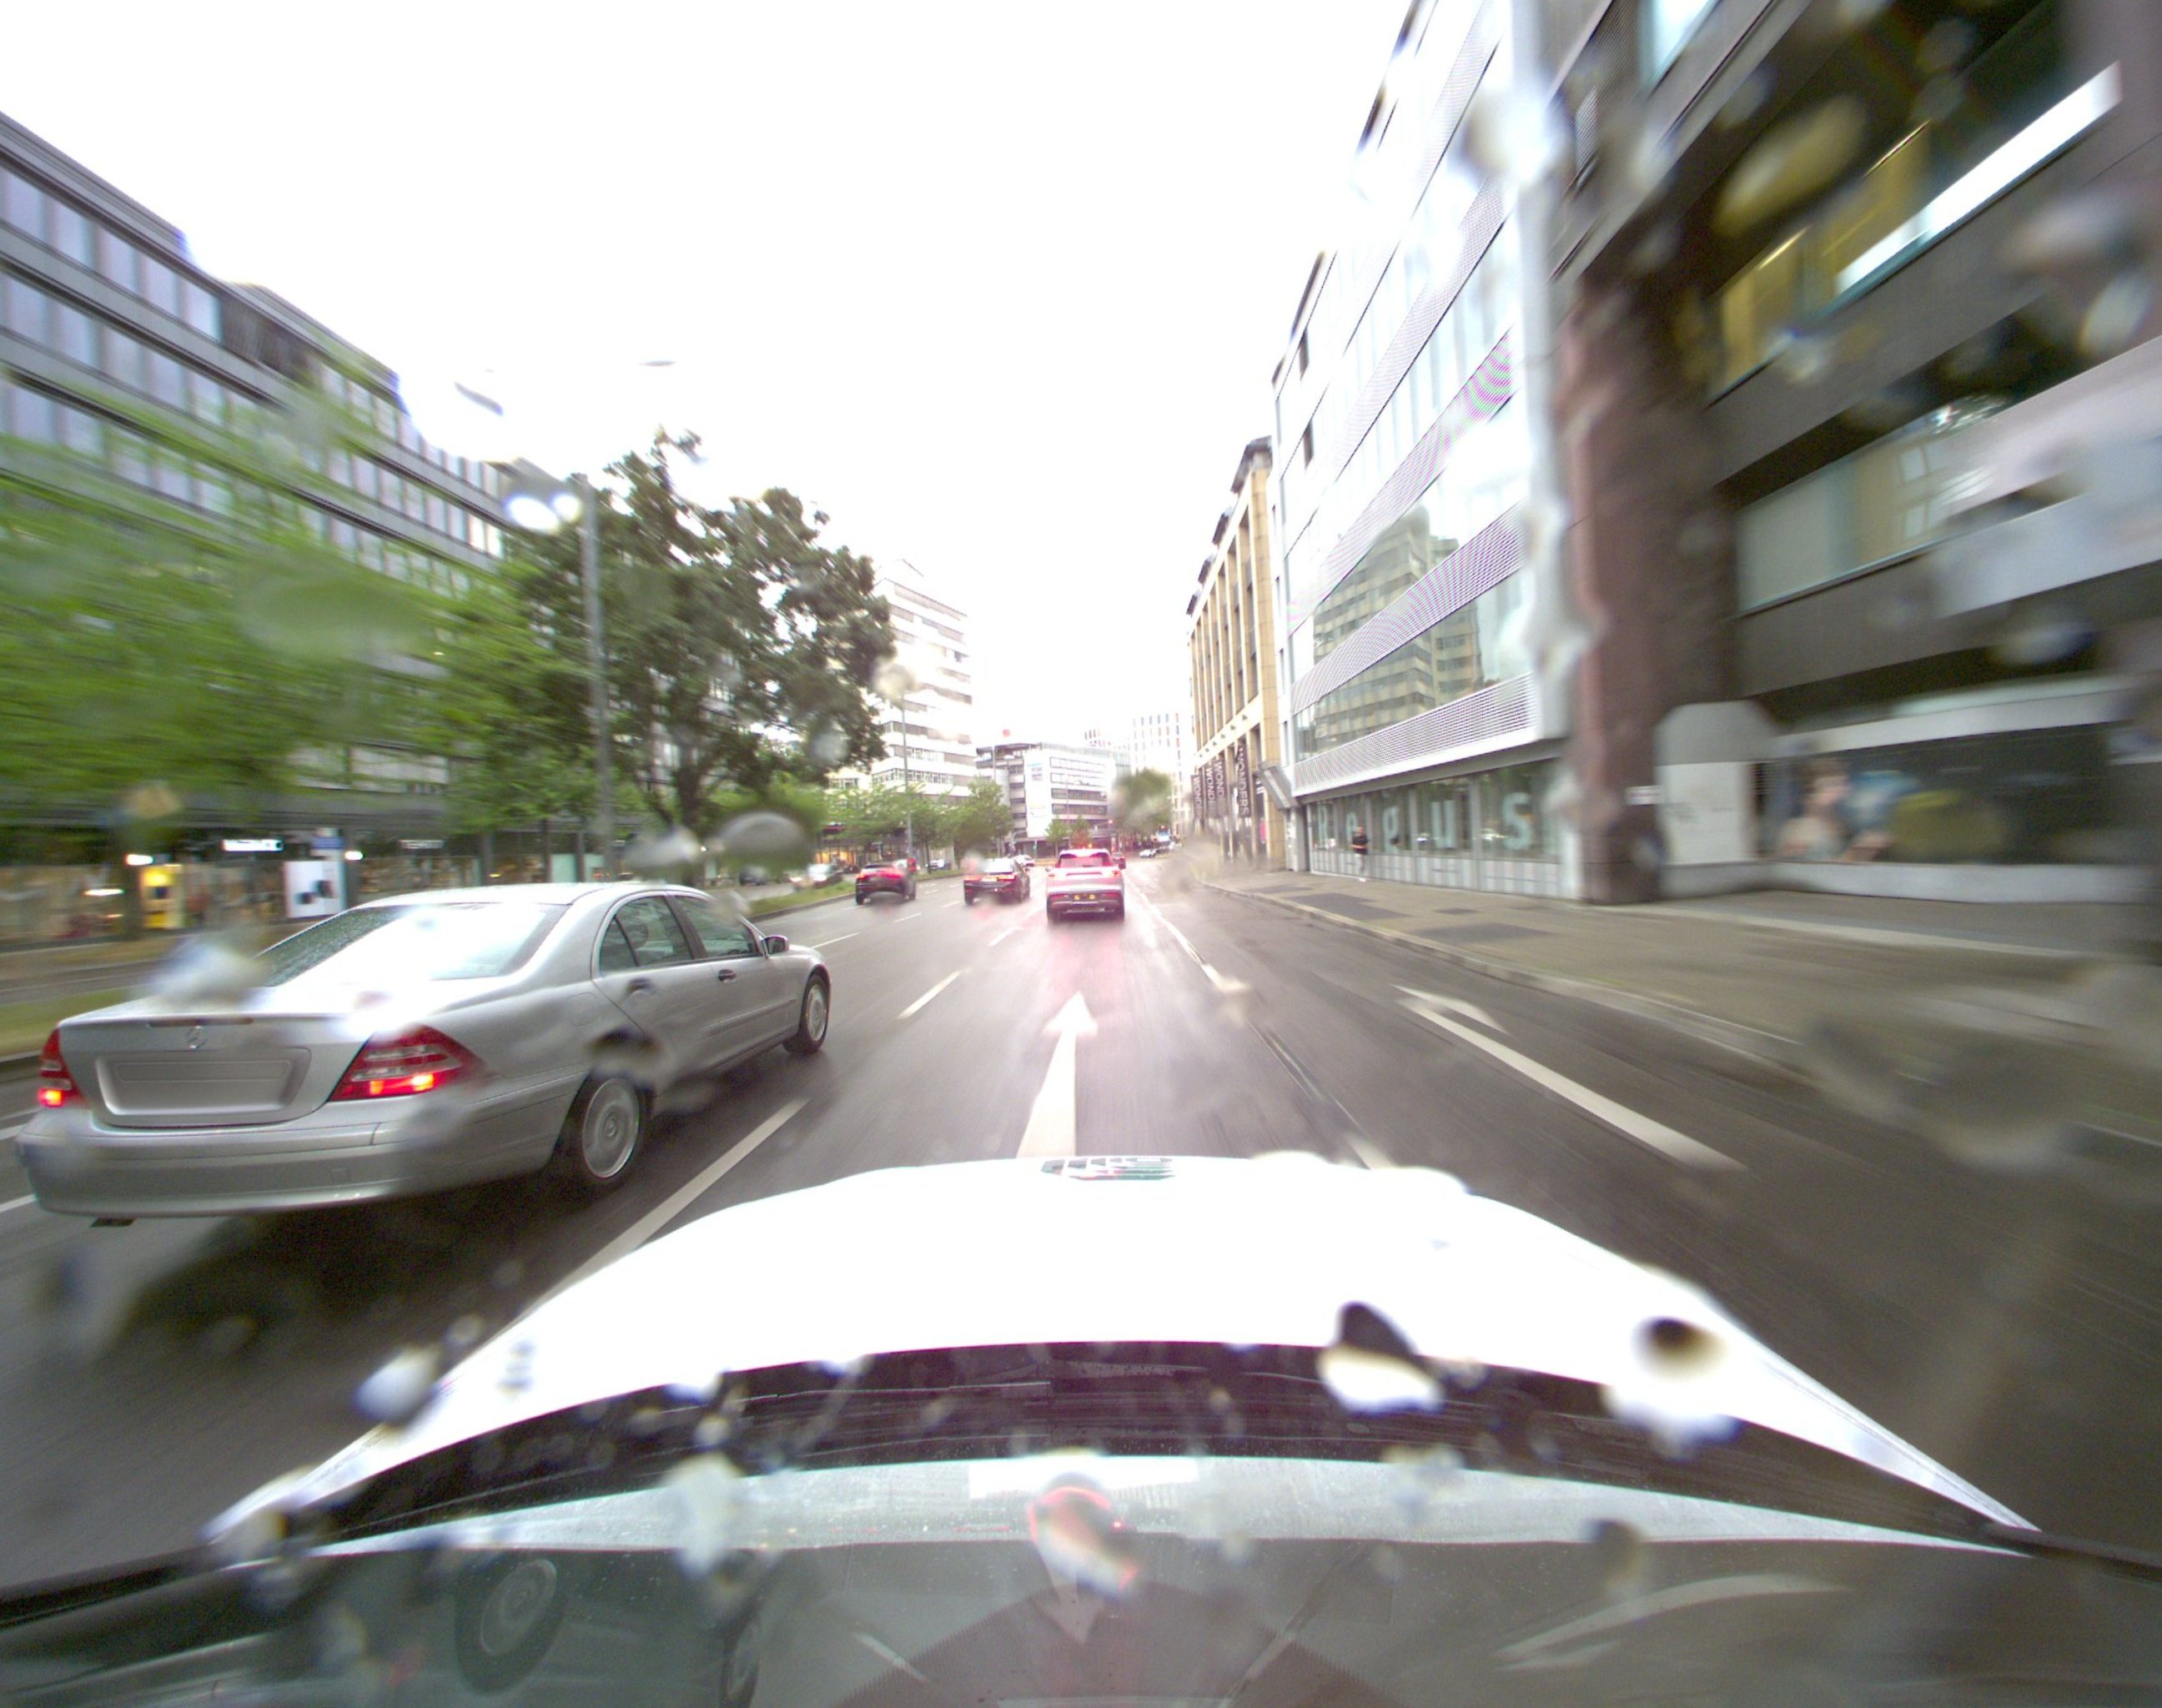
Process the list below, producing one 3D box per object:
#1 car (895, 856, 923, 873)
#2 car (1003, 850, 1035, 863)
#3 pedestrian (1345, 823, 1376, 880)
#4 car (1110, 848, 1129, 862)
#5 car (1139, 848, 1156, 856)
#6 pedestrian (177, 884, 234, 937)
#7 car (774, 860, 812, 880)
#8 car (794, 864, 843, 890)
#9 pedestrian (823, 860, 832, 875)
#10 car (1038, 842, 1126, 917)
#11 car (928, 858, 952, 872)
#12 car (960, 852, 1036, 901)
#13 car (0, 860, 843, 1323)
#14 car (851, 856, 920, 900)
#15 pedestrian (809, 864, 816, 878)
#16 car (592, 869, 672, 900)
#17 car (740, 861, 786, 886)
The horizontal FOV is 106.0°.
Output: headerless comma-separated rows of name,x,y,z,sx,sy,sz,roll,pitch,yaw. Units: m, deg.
car,-16.344,0.952,77.557,1.618,1.492,4.305,-3,-1,0
car,-7.535,0.314,99.231,1.669,1.342,3.950,-2,0,-45
pedestrian,8.972,-0.084,26.167,0.633,1.772,0.790,-3,-1,2
car,4.629,0.157,97.434,1.801,1.578,4.009,-2,0,8
car,13.397,-0.388,163.743,1.565,1.538,4.026,-2,0,32
pedestrian,-30.038,1.920,27.961,0.740,1.715,1.057,-2,0,1
car,-22.889,1.252,64.794,1.618,1.460,3.962,-1,0,0
car,-14.313,1.229,44.529,1.620,1.311,3.613,-3,-1,-3
pedestrian,-29.401,1.581,94.387,0.757,1.713,0.587,-2,0,-37
car,0.078,0.565,20.091,1.894,1.621,4.001,-2,0,1
car,-15.519,1.202,89.783,1.617,1.453,4.165,-3,-1,3
car,-2.794,0.714,28.522,1.865,1.479,4.882,-3,0,3
car,-2.972,0.806,4.871,1.666,1.479,4.362,-2,0,2
car,-7.281,0.871,30.669,1.770,1.457,3.994,-3,-1,-4
pedestrian,-28.567,1.788,86.613,0.606,1.503,0.432,-2,0,-37
car,-23.197,1.545,42.246,1.618,1.432,4.444,-3,-1,0
car,-22.896,1.392,58.791,1.618,1.611,4.231,-1,0,0
